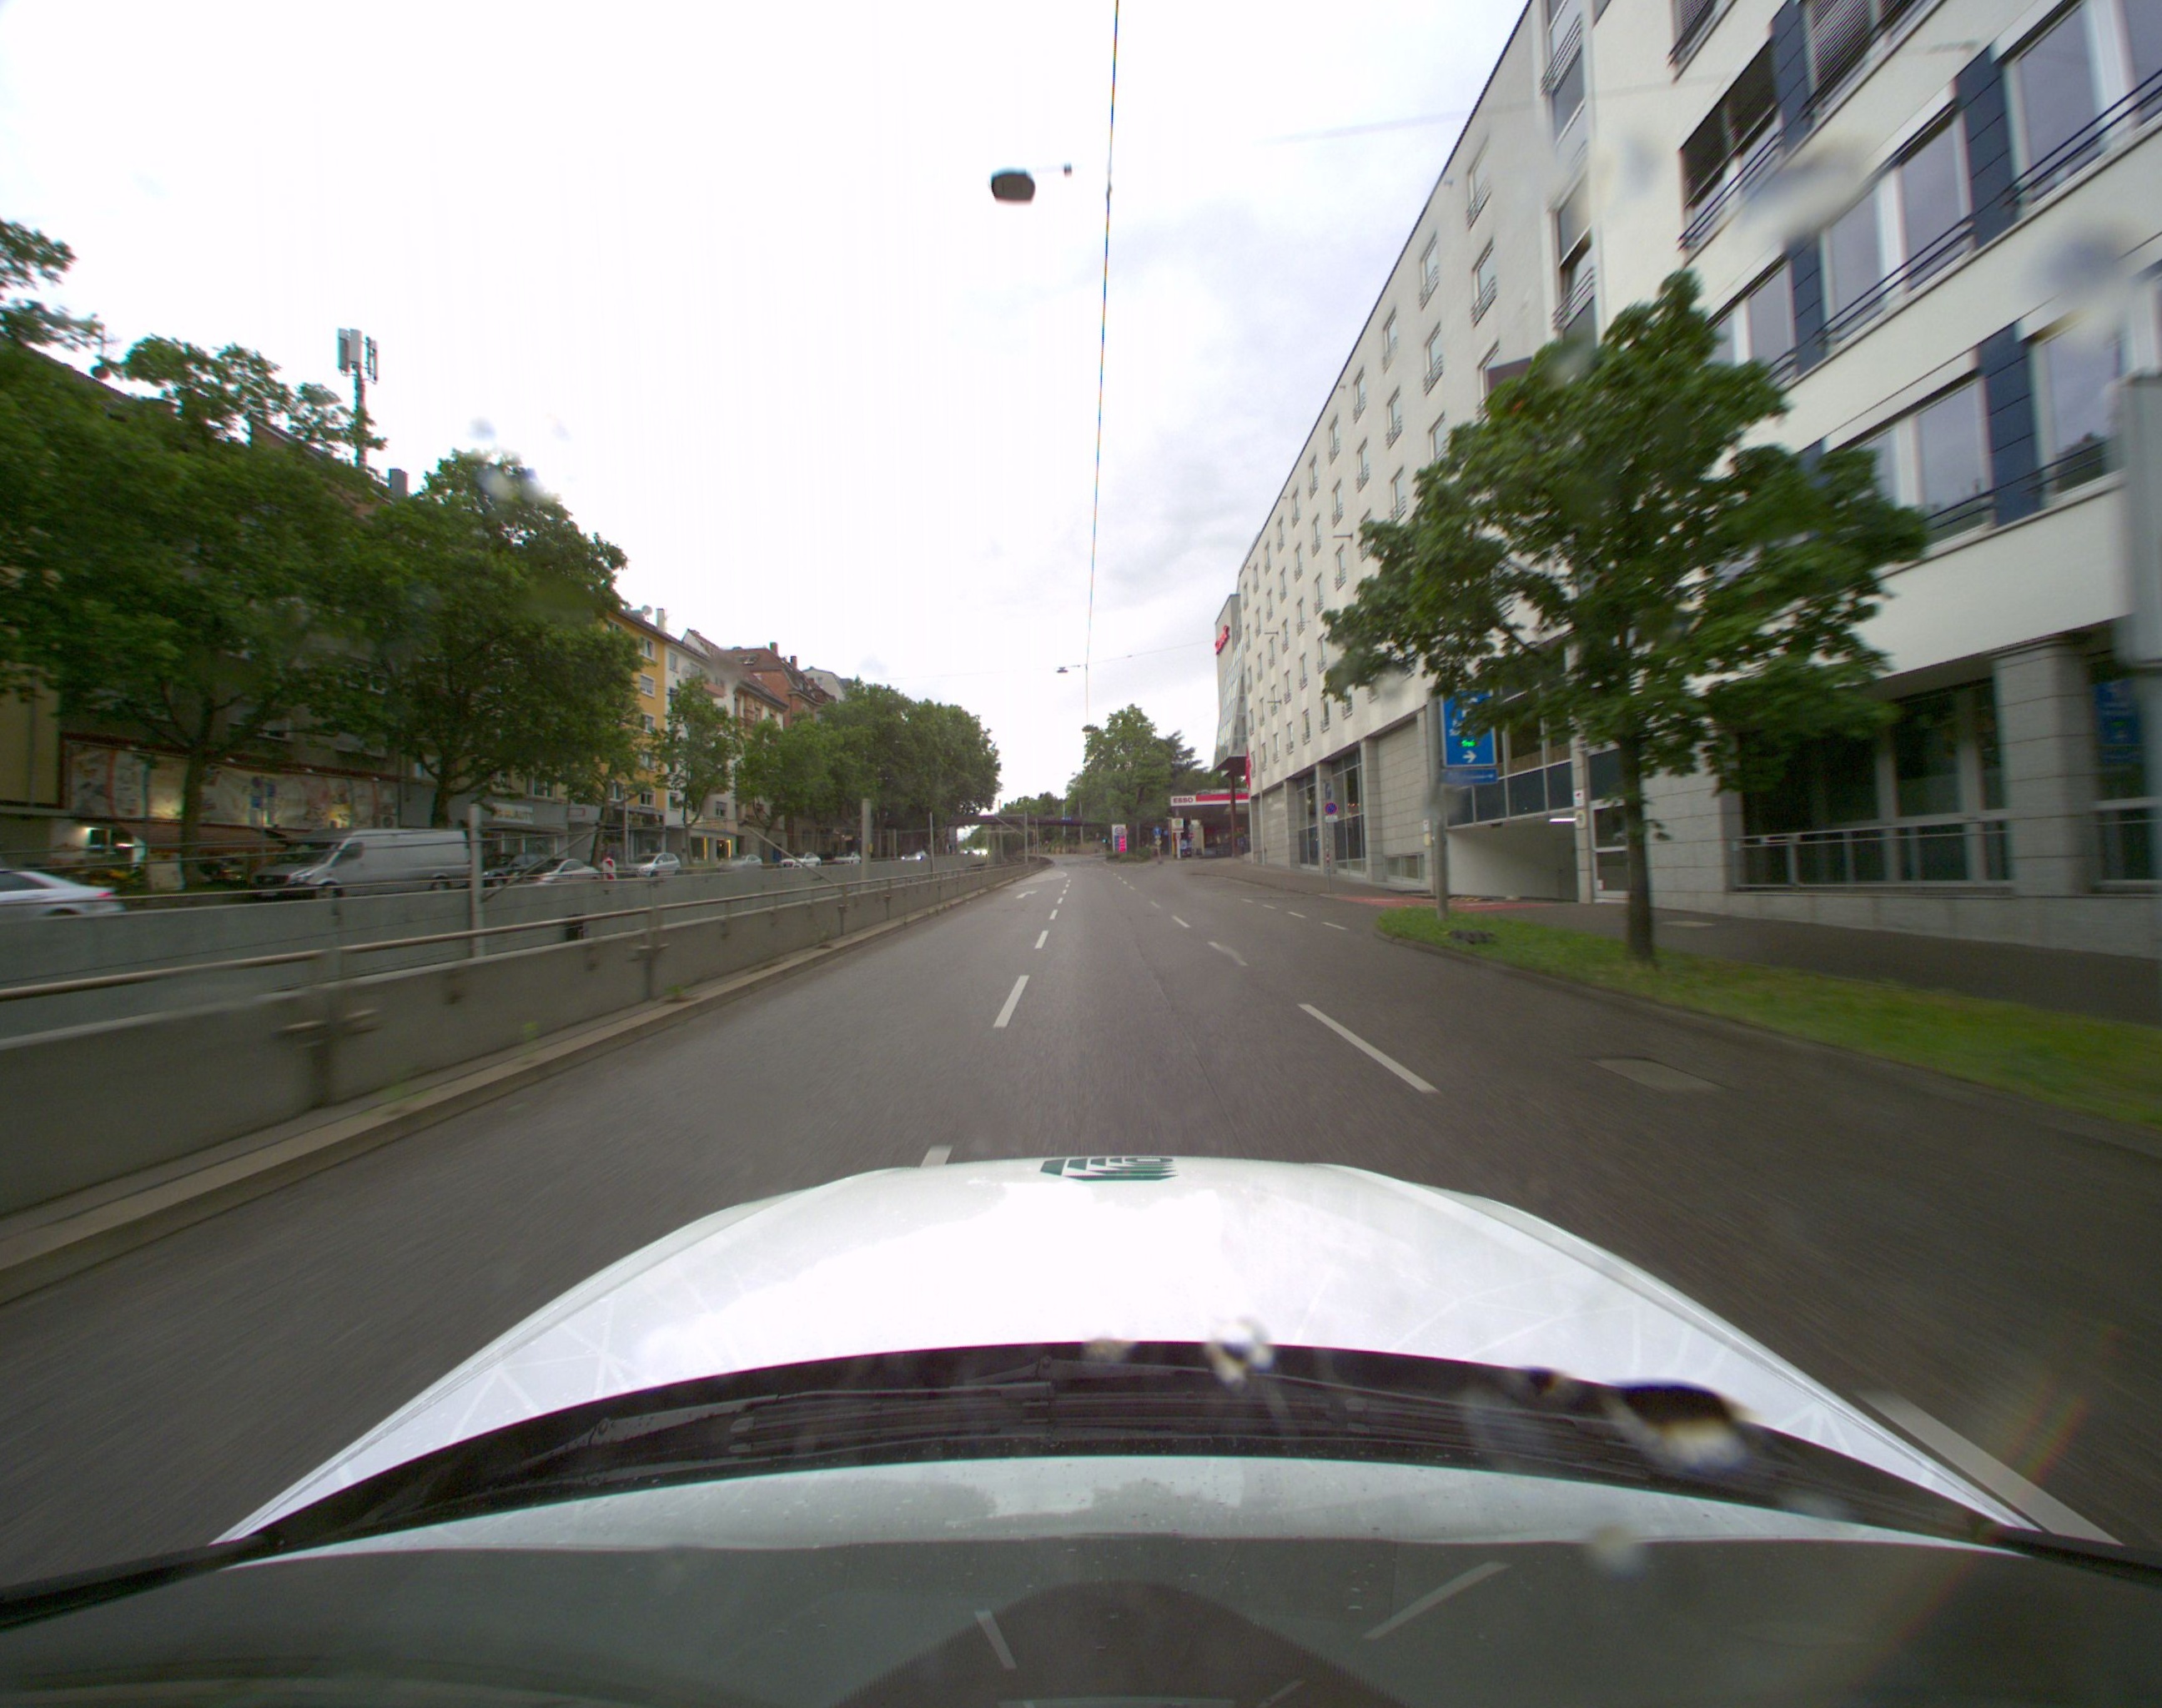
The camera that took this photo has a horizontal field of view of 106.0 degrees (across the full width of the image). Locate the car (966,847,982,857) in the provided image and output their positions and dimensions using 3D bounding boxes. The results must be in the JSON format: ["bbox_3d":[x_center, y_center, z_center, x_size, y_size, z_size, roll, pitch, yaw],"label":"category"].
[{"bbox_3d":[-19.501,-0.396,148.481,1.948,1.852,4.971,0,0,3],"label":"car"}]

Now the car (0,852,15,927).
[{"bbox_3d":[-25.922,0.836,17.009,1.789,1.729,4.205,0,0,0],"label":"car"}]

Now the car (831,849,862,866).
[{"bbox_3d":[-22.703,0.346,78.984,1.788,1.611,4.113,0,0,1],"label":"car"}]

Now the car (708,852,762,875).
[{"bbox_3d":[-23.985,0.597,56.623,1.787,1.510,4.210,0,0,2],"label":"car"}]

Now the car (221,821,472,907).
[{"bbox_3d":[-25.523,0.278,28.890,2.443,2.662,6.935,0,0,2],"label":"car"}]

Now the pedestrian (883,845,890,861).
[{"bbox_3d":[-24.201,-0.110,101.327,0.666,2.014,0.935,0,-1,4],"label":"pedestrian"}]

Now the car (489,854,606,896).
[{"bbox_3d":[-21.245,0.795,32.627,1.838,1.510,4.021,0,0,4],"label":"car"}]

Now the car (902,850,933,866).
[{"bbox_3d":[-16.088,0.388,80.278,2.020,1.510,4.882,0,0,0],"label":"car"}]

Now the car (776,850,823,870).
[{"bbox_3d":[-23.402,0.443,67.866,1.920,1.601,5.201,0,0,2],"label":"car"}]

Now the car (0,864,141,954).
[{"bbox_3d":[-19.476,0.973,13.601,1.839,1.510,4.824,0,0,2],"label":"car"}]

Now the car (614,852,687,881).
[{"bbox_3d":[-24.628,0.666,46.767,1.787,1.571,4.210,0,0,2],"label":"car"}]

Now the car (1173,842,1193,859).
[{"bbox_3d":[10.778,-0.380,85.819,1.762,1.623,3.877,-4,-1,10],"label":"car"}]

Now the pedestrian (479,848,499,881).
[{"bbox_3d":[-31.973,0.554,43.993,0.520,1.748,0.623,2,0,9],"label":"pedestrian"}]

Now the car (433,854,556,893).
[{"bbox_3d":[-25.048,0.788,35.038,1.787,1.510,4.674,0,0,2],"label":"car"}]
